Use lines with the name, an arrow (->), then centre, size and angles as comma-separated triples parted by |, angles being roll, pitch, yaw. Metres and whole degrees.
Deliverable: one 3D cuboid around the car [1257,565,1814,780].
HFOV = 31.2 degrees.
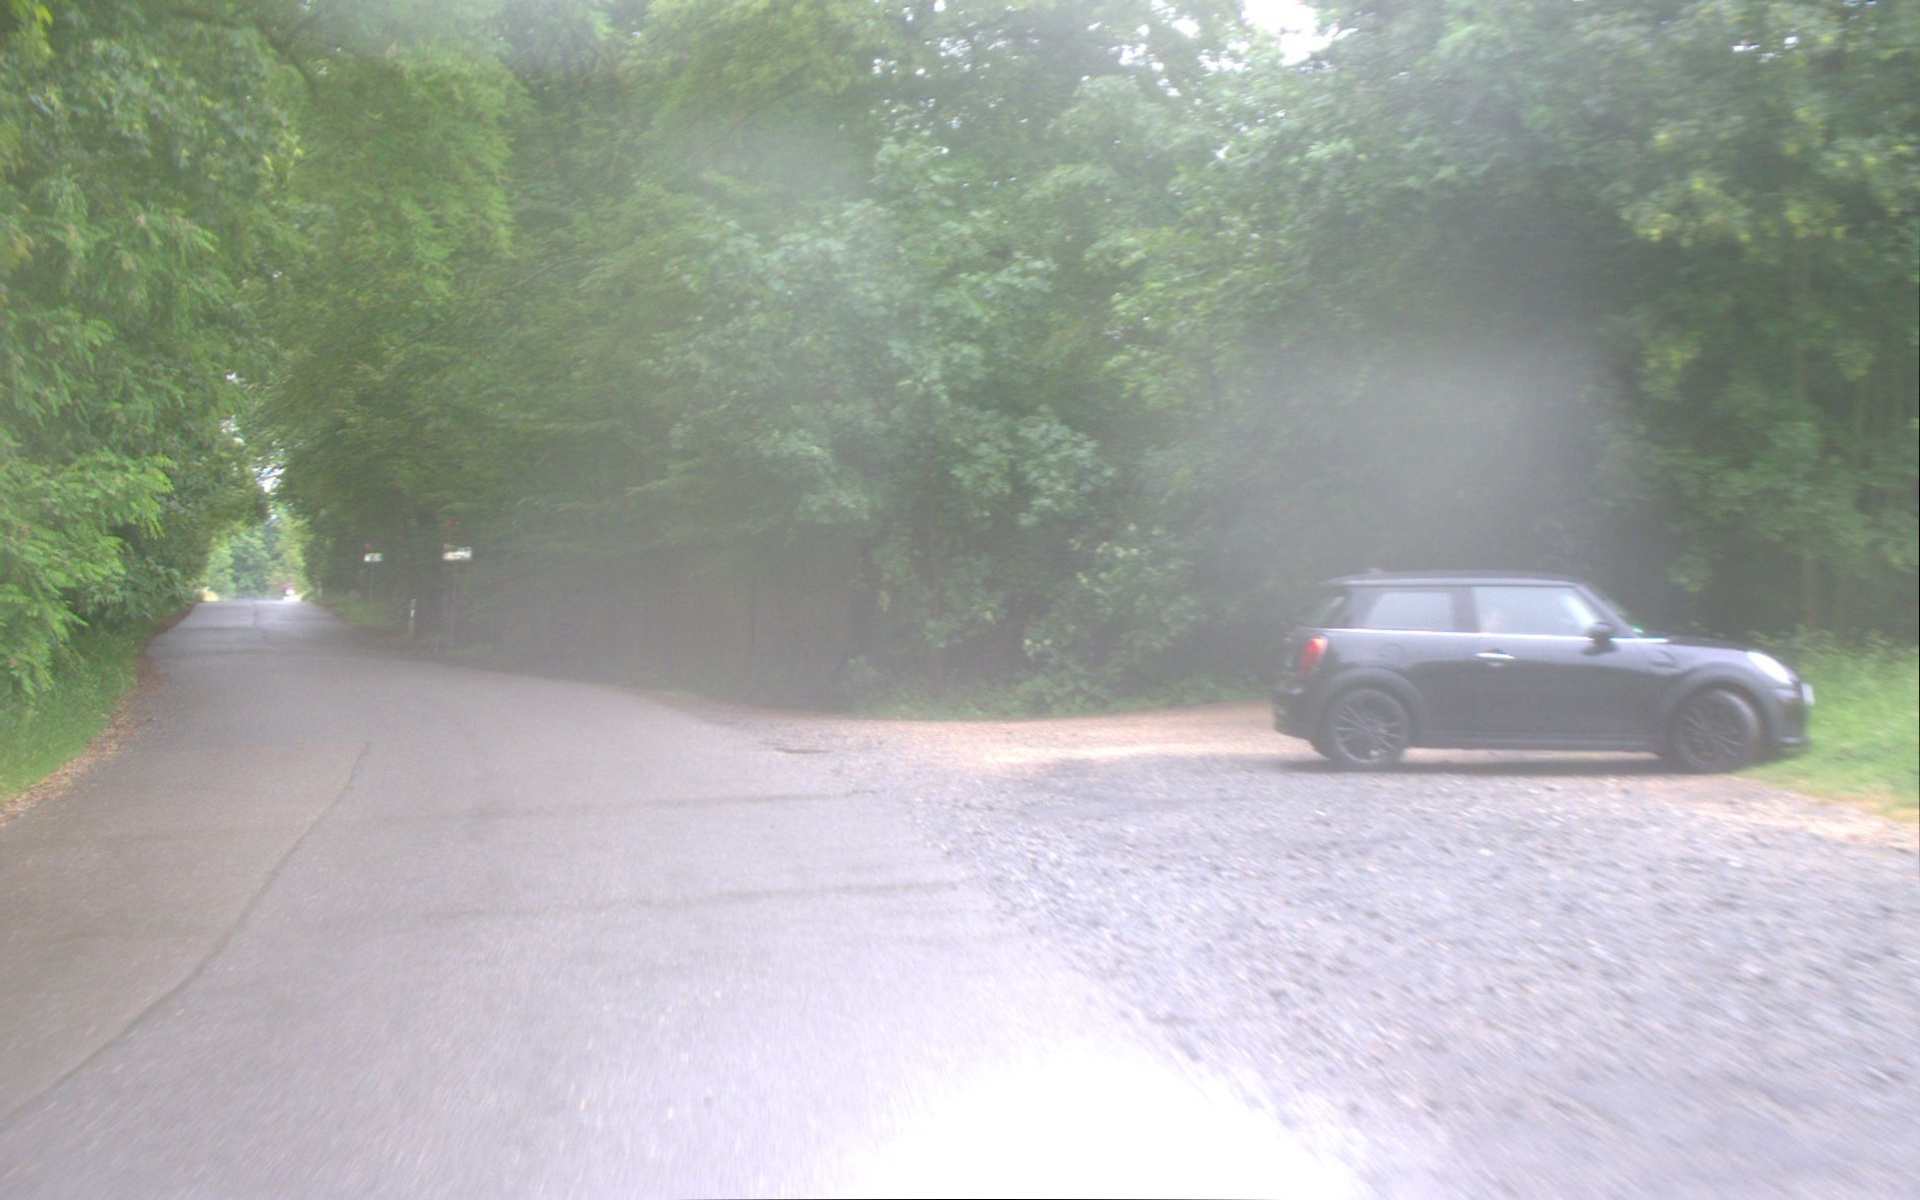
car -> 4.110, 0.505, 24.947 | 3.707, 1.431, 1.707 | 1, 0, -1
